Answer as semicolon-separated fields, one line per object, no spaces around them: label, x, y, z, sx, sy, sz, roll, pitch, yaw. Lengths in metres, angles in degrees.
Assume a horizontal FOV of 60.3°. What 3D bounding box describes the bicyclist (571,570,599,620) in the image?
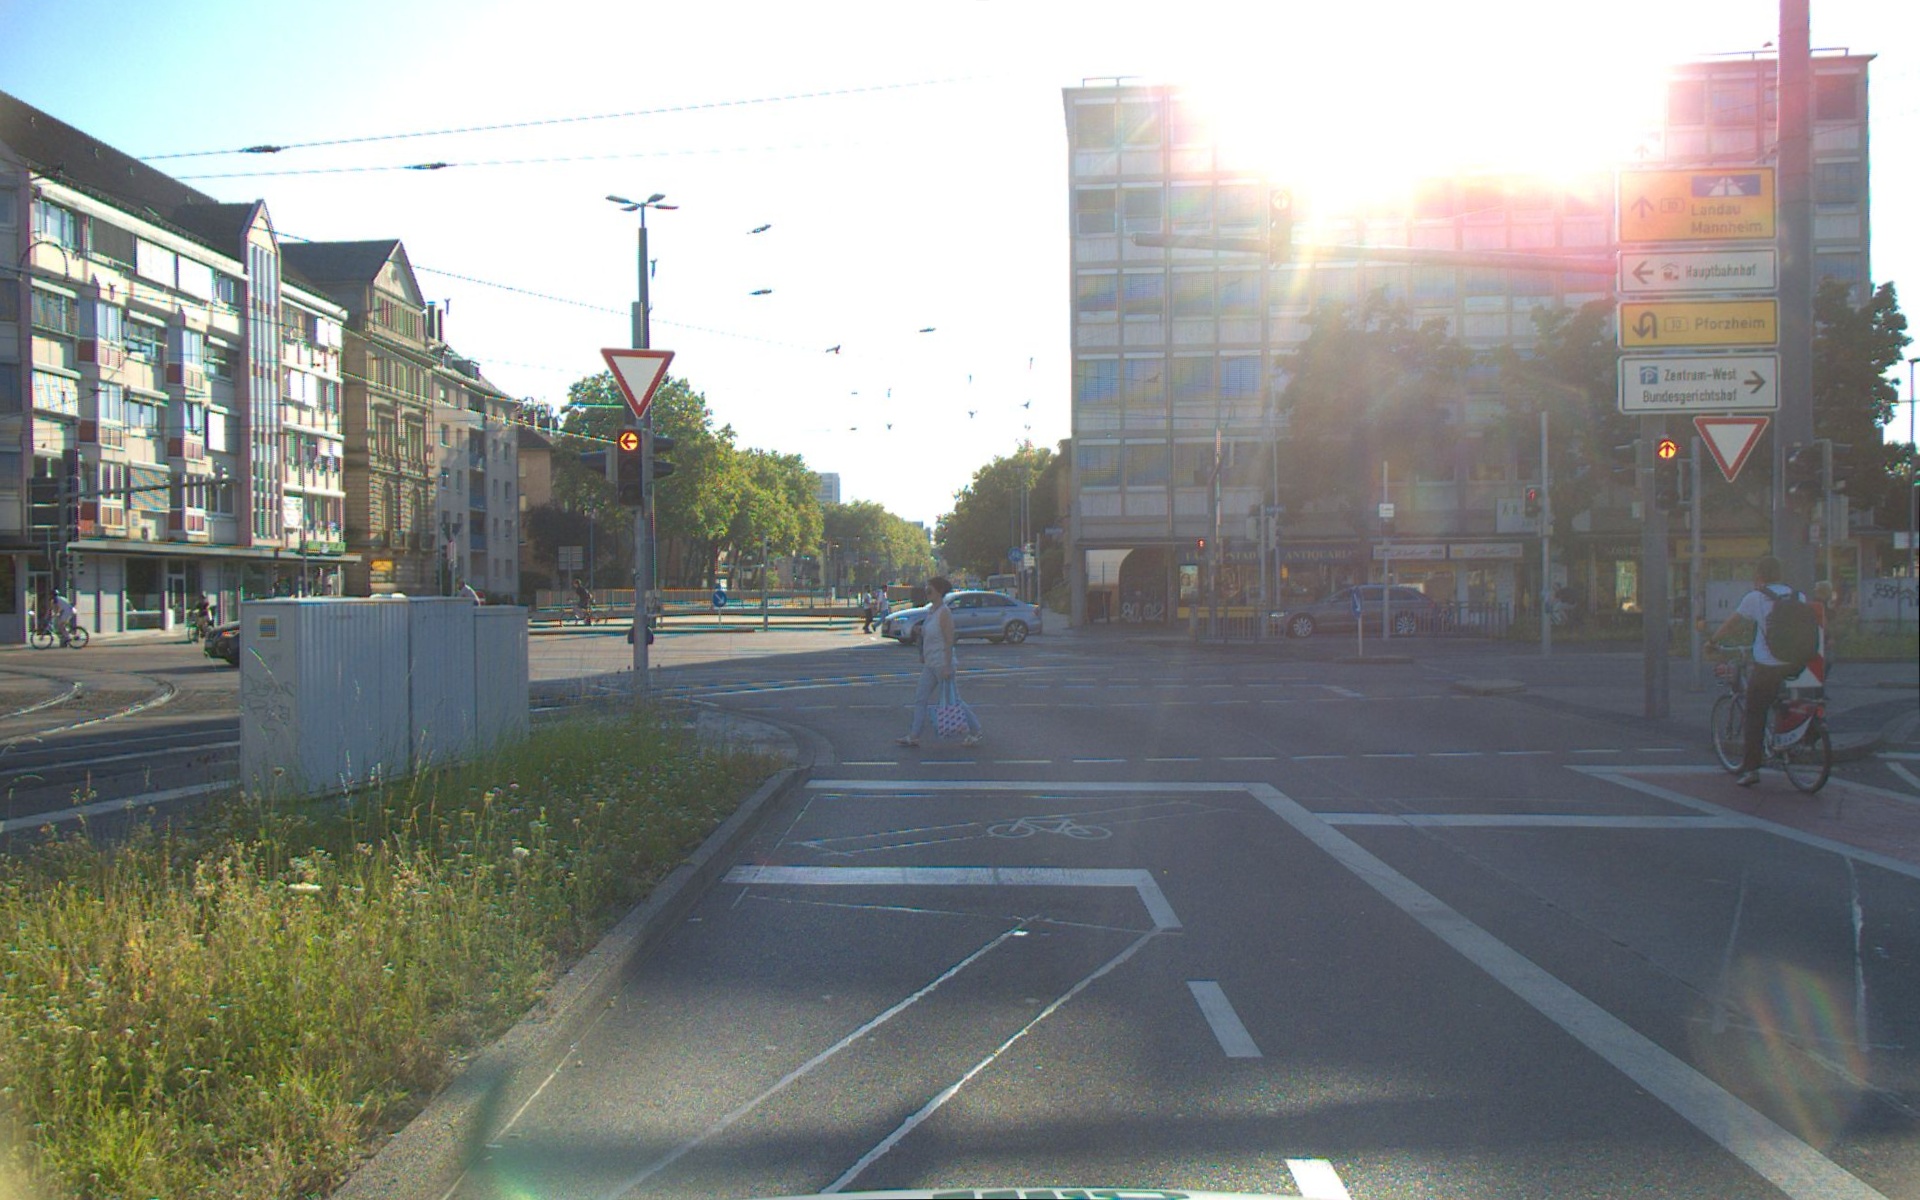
bicyclist;-13.552;-0.181;59.795;0.880;1.783;0.650;-1;0;-4

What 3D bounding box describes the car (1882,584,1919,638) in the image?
car;29.171;0.278;47.021;4.820;1.504;1.999;-1;0;-2

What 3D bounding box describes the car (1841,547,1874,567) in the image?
car;65.571;-3.131;120.859;1.955;1.422;3.996;-1;0;27

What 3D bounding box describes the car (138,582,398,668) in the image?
car;-14.640;0.485;35.143;4.737;1.624;1.970;-2;1;-41

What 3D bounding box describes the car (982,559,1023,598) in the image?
car;2.816;-1.372;110.706;2.435;2.434;5.934;-2;0;0

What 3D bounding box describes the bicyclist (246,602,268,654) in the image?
bicyclist;-28.144;1.105;66.224;0.590;2.049;0.778;-1;0;-4

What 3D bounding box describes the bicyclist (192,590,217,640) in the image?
bicyclist;-28.978;0.583;63.444;0.580;1.894;0.642;-1;0;2

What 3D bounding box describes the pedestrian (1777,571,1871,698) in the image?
pedestrian;11.269;0.440;21.598;0.861;1.625;0.655;-1;0;-2

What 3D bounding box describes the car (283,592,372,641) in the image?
car;-25.971;0.636;68.028;1.952;1.892;4.001;-1;0;2

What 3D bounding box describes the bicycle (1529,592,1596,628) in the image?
bicycle;19.332;0.322;53.076;1.933;1.117;0.677;-1;0;-4

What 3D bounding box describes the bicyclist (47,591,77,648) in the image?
bicyclist;-27.898;0.595;51.385;0.651;1.742;0.537;-1;0;-10

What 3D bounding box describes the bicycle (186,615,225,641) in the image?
bicycle;-28.960;1.055;63.494;0.586;0.931;1.836;-1;0;2

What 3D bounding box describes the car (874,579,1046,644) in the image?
car;-0.009;0.285;44.675;4.263;1.624;1.991;-1;0;-17

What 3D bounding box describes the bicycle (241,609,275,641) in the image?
bicycle;-28.139;0.986;66.305;0.596;1.222;1.966;-1;0;-3

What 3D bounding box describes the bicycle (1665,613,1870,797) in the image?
bicycle;6.367;0.781;13.174;0.631;1.244;2.049;1;2;1

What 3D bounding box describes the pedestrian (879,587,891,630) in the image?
pedestrian;-2.676;0.296;58.761;0.359;1.534;0.542;-1;0;-7

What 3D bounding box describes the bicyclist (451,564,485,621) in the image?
bicyclist;-15.648;-0.245;52.575;0.880;1.783;0.654;-1;0;-4

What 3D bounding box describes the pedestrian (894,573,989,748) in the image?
pedestrian;-0.176;0.566;15.834;0.860;1.625;0.655;-1;0;0

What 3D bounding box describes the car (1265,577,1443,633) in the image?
car;11.078;0.135;46.808;4.814;1.504;2.002;-1;0;11

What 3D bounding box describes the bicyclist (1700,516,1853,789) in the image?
bicyclist;6.380;0.379;12.979;0.630;2.048;1.067;1;2;1

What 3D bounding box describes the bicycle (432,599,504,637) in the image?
bicycle;-15.635;0.562;52.578;2.052;1.157;0.658;-1;0;-4

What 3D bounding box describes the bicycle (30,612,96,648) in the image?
bicycle;-27.868;0.934;51.385;1.700;1.078;0.538;-1;0;-10

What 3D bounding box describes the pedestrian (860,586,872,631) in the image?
pedestrian;-3.288;0.286;57.595;0.359;1.534;0.542;-1;0;-7

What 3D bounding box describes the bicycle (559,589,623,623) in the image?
bicycle;-13.340;0.212;59.815;2.131;1.157;0.658;-1;0;-4
